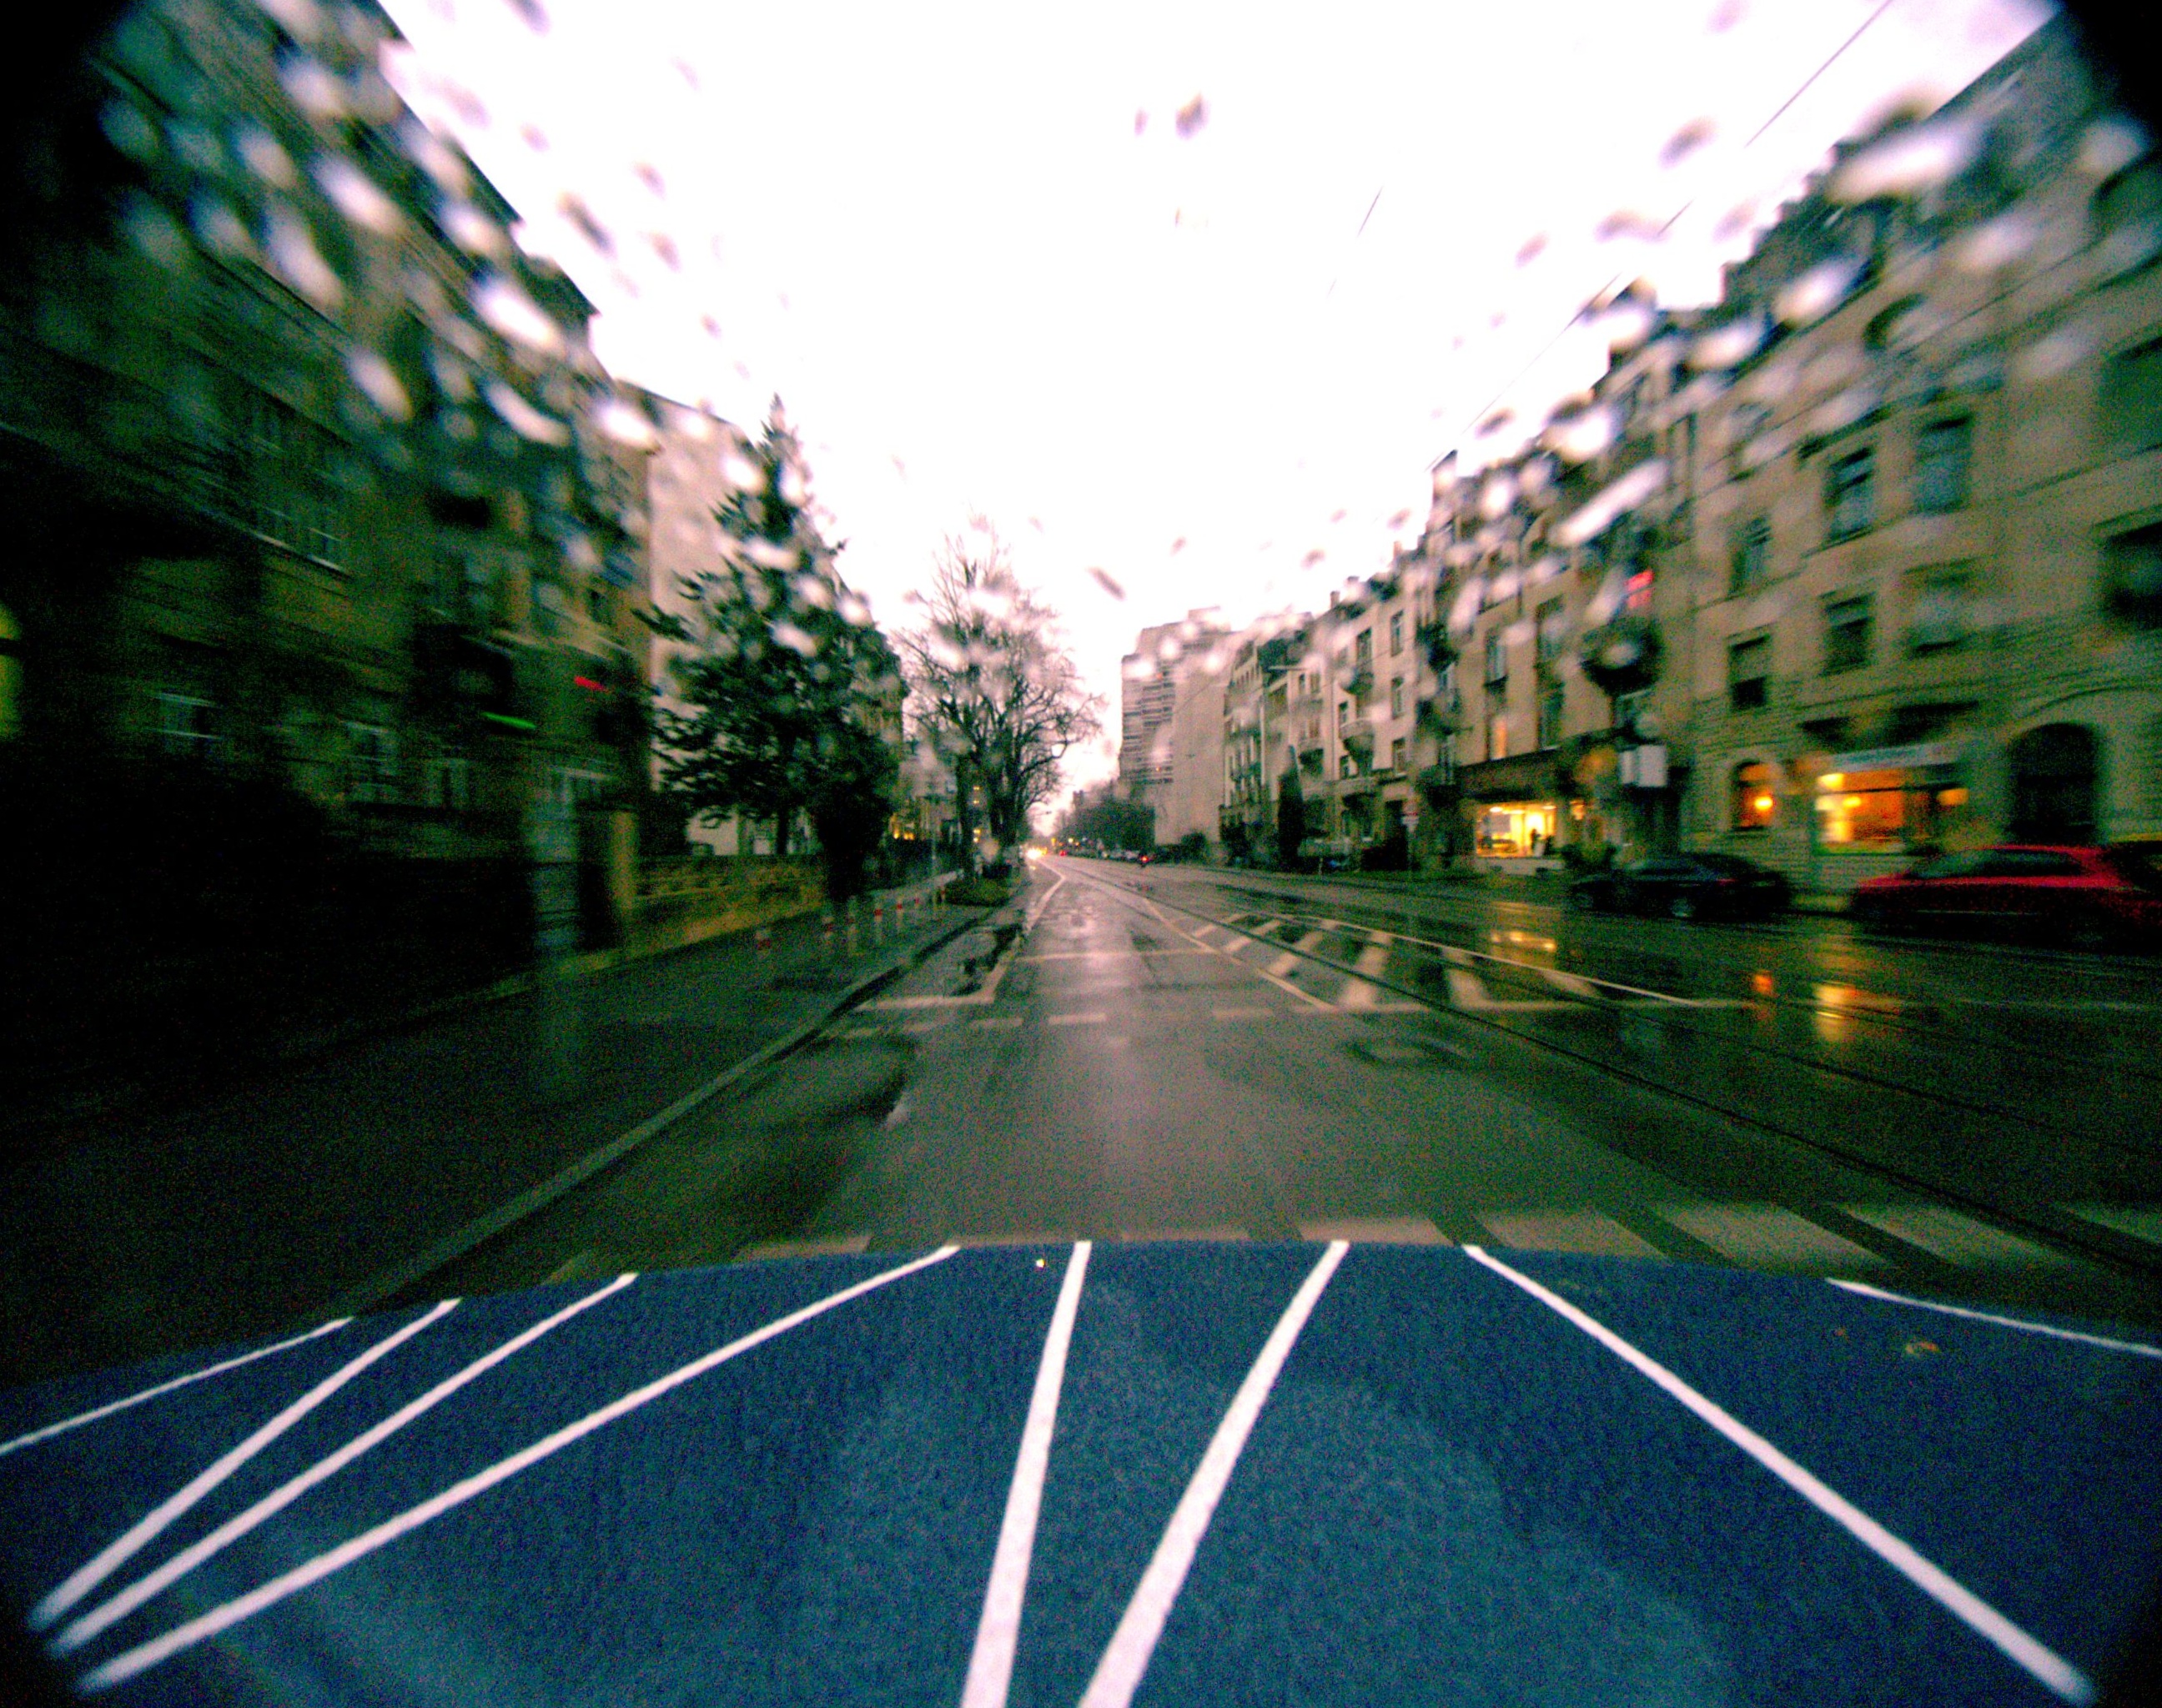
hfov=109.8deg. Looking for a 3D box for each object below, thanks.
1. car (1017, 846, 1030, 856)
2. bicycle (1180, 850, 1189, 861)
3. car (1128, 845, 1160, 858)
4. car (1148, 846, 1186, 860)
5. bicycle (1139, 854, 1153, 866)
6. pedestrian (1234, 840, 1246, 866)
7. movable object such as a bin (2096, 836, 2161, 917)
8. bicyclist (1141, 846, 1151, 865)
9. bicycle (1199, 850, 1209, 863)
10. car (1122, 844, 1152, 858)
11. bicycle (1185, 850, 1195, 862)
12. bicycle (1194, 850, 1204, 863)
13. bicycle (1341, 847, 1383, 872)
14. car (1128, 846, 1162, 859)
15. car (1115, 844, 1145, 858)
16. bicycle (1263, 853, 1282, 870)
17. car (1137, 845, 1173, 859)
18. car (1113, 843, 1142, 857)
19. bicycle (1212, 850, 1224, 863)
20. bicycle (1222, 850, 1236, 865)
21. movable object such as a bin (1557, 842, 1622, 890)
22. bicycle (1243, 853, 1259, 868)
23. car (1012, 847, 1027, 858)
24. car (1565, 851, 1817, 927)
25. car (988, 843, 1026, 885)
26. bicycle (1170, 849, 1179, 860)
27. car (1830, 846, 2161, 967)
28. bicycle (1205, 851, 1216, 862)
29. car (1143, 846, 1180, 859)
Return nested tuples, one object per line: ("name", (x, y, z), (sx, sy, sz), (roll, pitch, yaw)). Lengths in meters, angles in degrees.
("car", (-8.936, -0.480, 118.308), (1.727, 1.405, 3.839), (-1, 1, -7))
("bicycle", (9.609, 0.122, 70.269), (0.435, 1.001, 1.880), (-4, 1, -2))
("car", (8.119, -0.282, 97.543), (3.841, 1.405, 1.726), (-4, 1, -3))
("car", (9.260, -0.112, 81.800), (3.841, 1.405, 1.726), (-1, 1, -3))
("bicycle", (5.279, 0.493, 61.756), (0.649, 0.885, 1.711), (0, 1, -12))
("pedestrian", (10.473, -0.057, 49.977), (0.573, 1.633, 0.449), (-4, 2, -2))
("movable object such as a bin", (19.370, 0.387, 13.481), (1.004, 1.364, 1.274), (-4, 1, -5))
("bicyclist", (5.258, 0.130, 61.817), (0.658, 1.492, 0.657), (0, 1, -12))
("bicycle", (10.129, 0.232, 62.703), (0.435, 1.001, 1.604), (-4, 1, -2))
("car", (7.684, -0.438, 103.928), (3.841, 1.707, 1.726), (-4, 1, -3))
("bicycle", (9.802, 0.146, 68.270), (0.435, 1.001, 1.880), (-4, 1, -2))
("bicycle", (10.082, 0.207, 64.735), (0.435, 1.001, 1.880), (-4, 1, -2))
("bicycle", (14.656, 0.296, 39.661), (1.990, 1.152, 0.531), (-4, 2, -5))
("car", (7.832, -0.215, 93.027), (3.841, 1.405, 1.726), (-3, 1, -3))
("car", (6.857, -0.470, 106.698), (3.841, 1.707, 1.726), (-4, 1, -3))
("bicycle", (11.446, 0.445, 45.464), (0.531, 0.934, 2.085), (-4, 1, 0))
("car", (8.500, -0.232, 87.239), (3.841, 1.405, 1.726), (-4, 1, -3))
("car", (6.759, -0.552, 110.653), (3.841, 1.707, 1.726), (-4, 1, -3))
("bicycle", (10.643, 0.191, 59.005), (0.435, 1.001, 1.711), (-4, 1, -2))
("bicycle", (10.844, 0.248, 55.773), (0.485, 1.001, 2.208), (-4, 1, -2))
("movable object such as a bin", (16.070, 0.362, 24.038), (1.240, 1.423, 1.073), (-4, 1, -5))
("bicycle", (11.212, 0.401, 50.261), (0.531, 0.885, 2.209), (-4, 1, 0))
("car", (-8.038, -0.245, 99.057), (1.727, 1.405, 3.839), (-1, 1, -7))
("car", (13.708, 0.684, 17.506), (1.807, 1.382, 4.505), (-4, 1, -7))
("car", (-3.847, 0.444, 39.433), (1.727, 1.934, 4.506), (-4, 1, -5))
("bicycle", (9.262, 0.011, 75.197), (0.469, 1.001, 1.880), (-4, 1, -2))
("car", (14.708, 0.679, 12.064), (1.677, 1.508, 3.675), (-4, 1, -10))
("bicycle", (10.350, 0.178, 60.803), (0.442, 0.827, 1.767), (-4, 1, -2))
("car", (8.888, -0.150, 84.453), (3.841, 1.405, 1.726), (-1, 1, -3))
